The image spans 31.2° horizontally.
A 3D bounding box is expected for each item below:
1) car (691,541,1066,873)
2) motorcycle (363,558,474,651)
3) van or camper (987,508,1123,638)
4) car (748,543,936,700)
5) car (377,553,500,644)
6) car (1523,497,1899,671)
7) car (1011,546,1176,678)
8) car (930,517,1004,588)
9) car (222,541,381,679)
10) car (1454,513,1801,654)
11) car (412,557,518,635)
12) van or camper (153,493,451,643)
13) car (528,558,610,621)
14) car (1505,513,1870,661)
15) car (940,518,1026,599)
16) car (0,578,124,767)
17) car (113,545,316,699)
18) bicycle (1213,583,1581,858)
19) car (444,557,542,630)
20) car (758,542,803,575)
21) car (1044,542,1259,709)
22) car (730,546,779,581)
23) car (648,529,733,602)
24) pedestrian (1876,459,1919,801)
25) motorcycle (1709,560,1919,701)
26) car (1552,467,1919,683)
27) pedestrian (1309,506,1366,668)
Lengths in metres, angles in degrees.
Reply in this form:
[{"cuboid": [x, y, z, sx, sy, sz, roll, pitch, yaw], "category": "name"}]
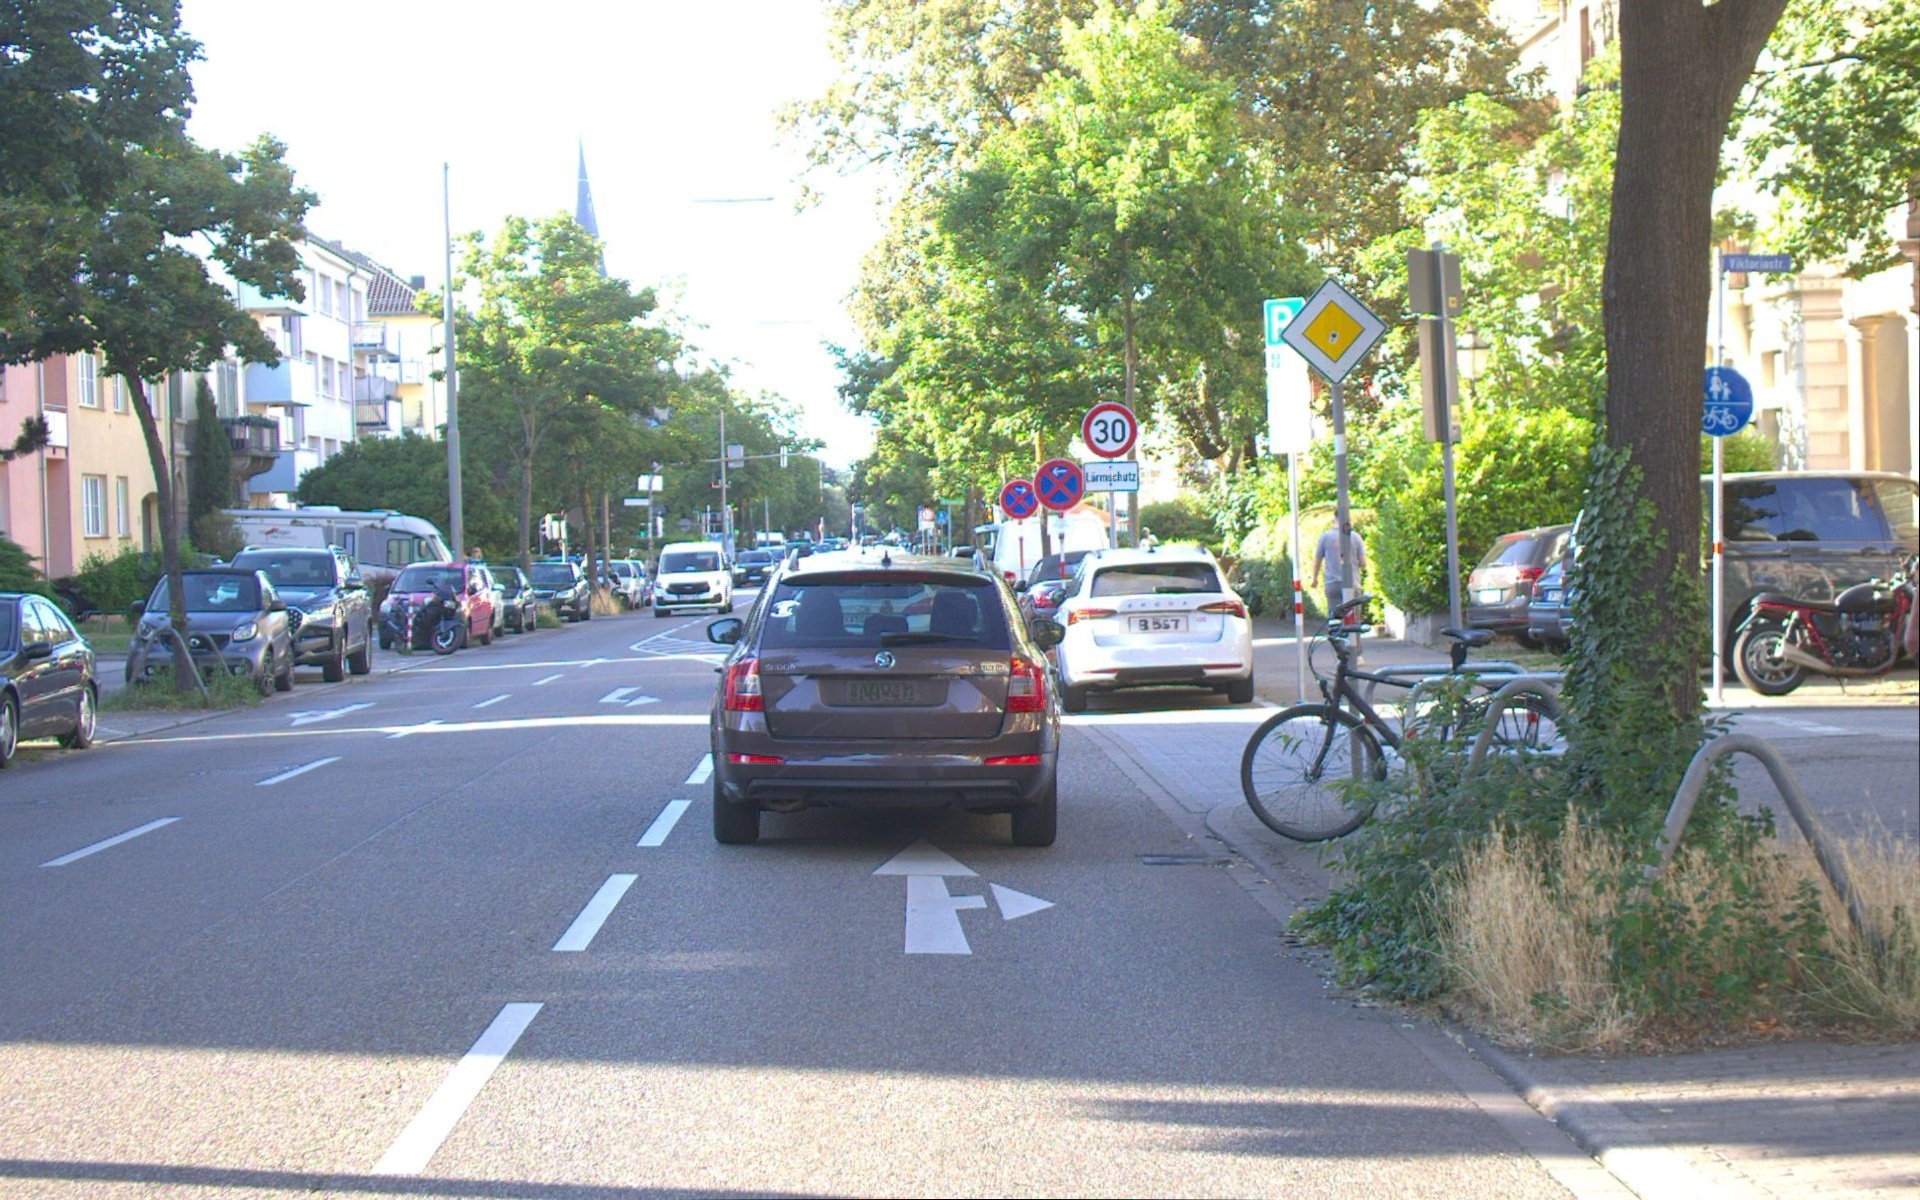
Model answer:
[{"cuboid": [-0.403, 0.470, 18.151, 1.729, 1.488, 3.951, -1, 1, -1], "category": "car"}, {"cuboid": [-9.036, 0.065, 57.289, 0.764, 1.506, 2.029, -3, 2, -44], "category": "motorcycle"}, {"cuboid": [1.518, -0.478, 56.430, 1.993, 2.007, 4.001, -1, 1, -1], "category": "van or camper"}, {"cuboid": [-1.296, 0.182, 36.213, 1.729, 1.488, 3.951, -1, 1, -5], "category": "car"}, {"cuboid": [-9.406, -0.051, 62.250, 1.664, 1.506, 4.179, -1, 1, -1], "category": "car"}, {"cuboid": [7.873, -0.195, 35.961, 3.800, 1.673, 1.512, -2, 2, -31], "category": "car"}, {"cuboid": [1.541, 0.104, 40.997, 1.821, 1.408, 4.111, -1, 1, 1], "category": "car"}, {"cuboid": [0.165, -1.292, 92.198, 1.729, 1.809, 3.951, -1, 1, -3], "category": "car"}, {"cuboid": [-8.950, 0.100, 46.958, 1.507, 1.751, 3.694, -1, 1, -1], "category": "car"}, {"cuboid": [7.907, -0.213, 40.701, 3.799, 1.520, 1.512, -2, 1, -23], "category": "car"}, {"cuboid": [-9.750, -0.107, 67.935, 1.664, 1.427, 3.275, -1, 1, -1], "category": "car"}, {"cuboid": [-17.806, -0.886, 93.344, 7.639, 3.861, 2.000, -1, 1, -3], "category": "van or camper"}, {"cuboid": [-9.503, -0.281, 83.657, 1.664, 1.427, 3.275, -1, 1, -1], "category": "car"}, {"cuboid": [8.165, -0.166, 38.582, 3.799, 1.520, 1.512, -2, 1, -23], "category": "car"}, {"cuboid": [0.509, -0.986, 79.711, 1.729, 1.809, 3.951, -1, 1, -3], "category": "car"}, {"cuboid": [-8.495, 0.584, 29.116, 1.754, 1.415, 4.426, -1, 1, -1], "category": "car"}, {"cuboid": [-9.112, 0.232, 42.290, 1.750, 1.734, 3.591, -1, 1, -1], "category": "car"}, {"cuboid": [2.140, 0.584, 16.783, 1.671, 1.222, 0.635, -3, 1, 12], "category": "bicycle"}, {"cuboid": [-9.831, -0.164, 72.479, 1.664, 1.427, 3.275, -1, 1, -1], "category": "car"}, {"cuboid": [-8.631, -1.992, 165.250, 1.993, 1.503, 4.000, -1, 1, -1], "category": "car"}, {"cuboid": [1.749, 0.189, 32.536, 1.821, 1.408, 4.111, -1, 1, 1], "category": "car"}, {"cuboid": [-9.051, -1.620, 151.529, 1.993, 1.503, 4.000, -1, 1, -1], "category": "car"}, {"cuboid": [-6.748, -0.890, 86.315, 1.876, 1.751, 4.179, -1, 1, -1], "category": "car"}, {"cuboid": [5.376, 0.146, 18.128, 0.755, 1.790, 0.906, -1, 1, -6], "category": "pedestrian"}, {"cuboid": [7.409, 0.246, 28.994, 2.051, 1.121, 0.525, -1, 1, -6], "category": "motorcycle"}, {"cuboid": [8.037, -0.284, 32.578, 4.533, 1.886, 1.915, -2, 1, -28], "category": "car"}, {"cuboid": [4.236, -0.151, 38.577, 0.535, 1.788, 0.687, -1, 1, 1], "category": "pedestrian"}]
